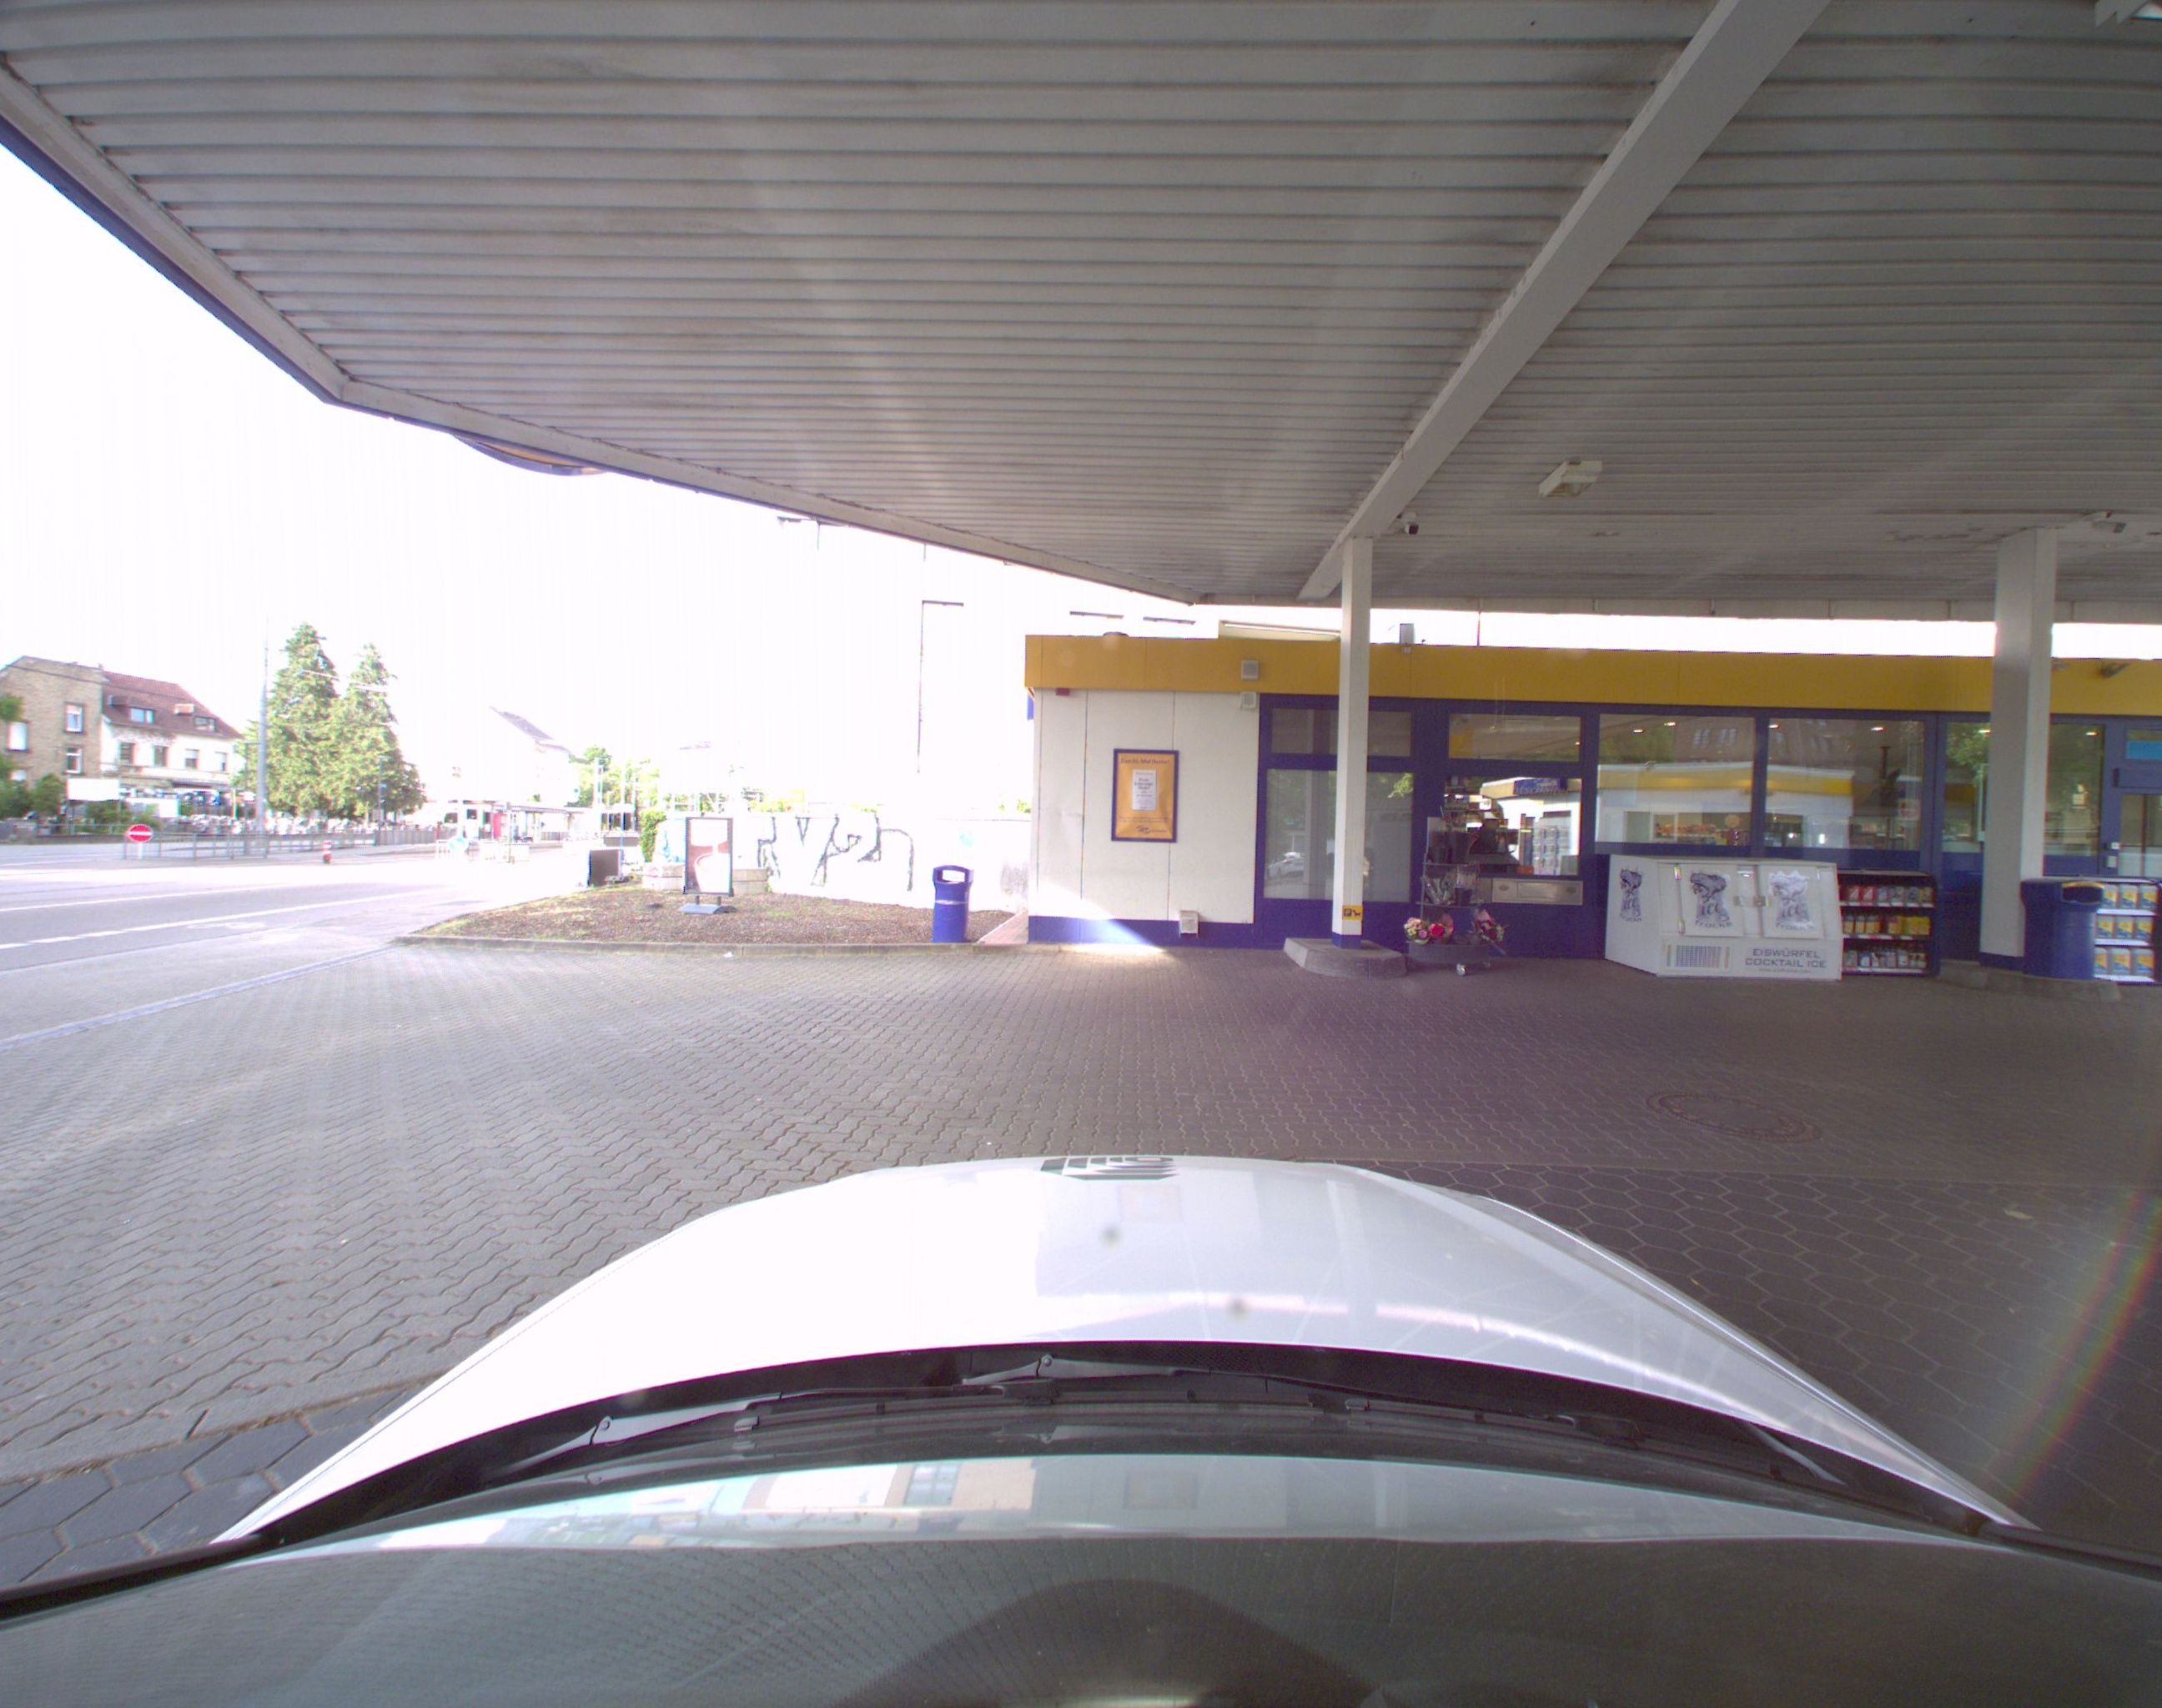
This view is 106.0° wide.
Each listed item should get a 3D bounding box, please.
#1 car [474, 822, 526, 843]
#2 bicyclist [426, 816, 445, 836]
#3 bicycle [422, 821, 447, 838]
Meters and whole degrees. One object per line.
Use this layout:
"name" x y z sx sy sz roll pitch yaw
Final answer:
"car" -44.666 -1.643 62.684 1.861 1.469 4.119 1 1 -14
"bicyclist" -48.861 -2.136 61.615 0.751 1.409 0.916 5 0 -17
"bicycle" -48.863 -1.849 61.581 0.751 1.203 1.812 5 0 -15
